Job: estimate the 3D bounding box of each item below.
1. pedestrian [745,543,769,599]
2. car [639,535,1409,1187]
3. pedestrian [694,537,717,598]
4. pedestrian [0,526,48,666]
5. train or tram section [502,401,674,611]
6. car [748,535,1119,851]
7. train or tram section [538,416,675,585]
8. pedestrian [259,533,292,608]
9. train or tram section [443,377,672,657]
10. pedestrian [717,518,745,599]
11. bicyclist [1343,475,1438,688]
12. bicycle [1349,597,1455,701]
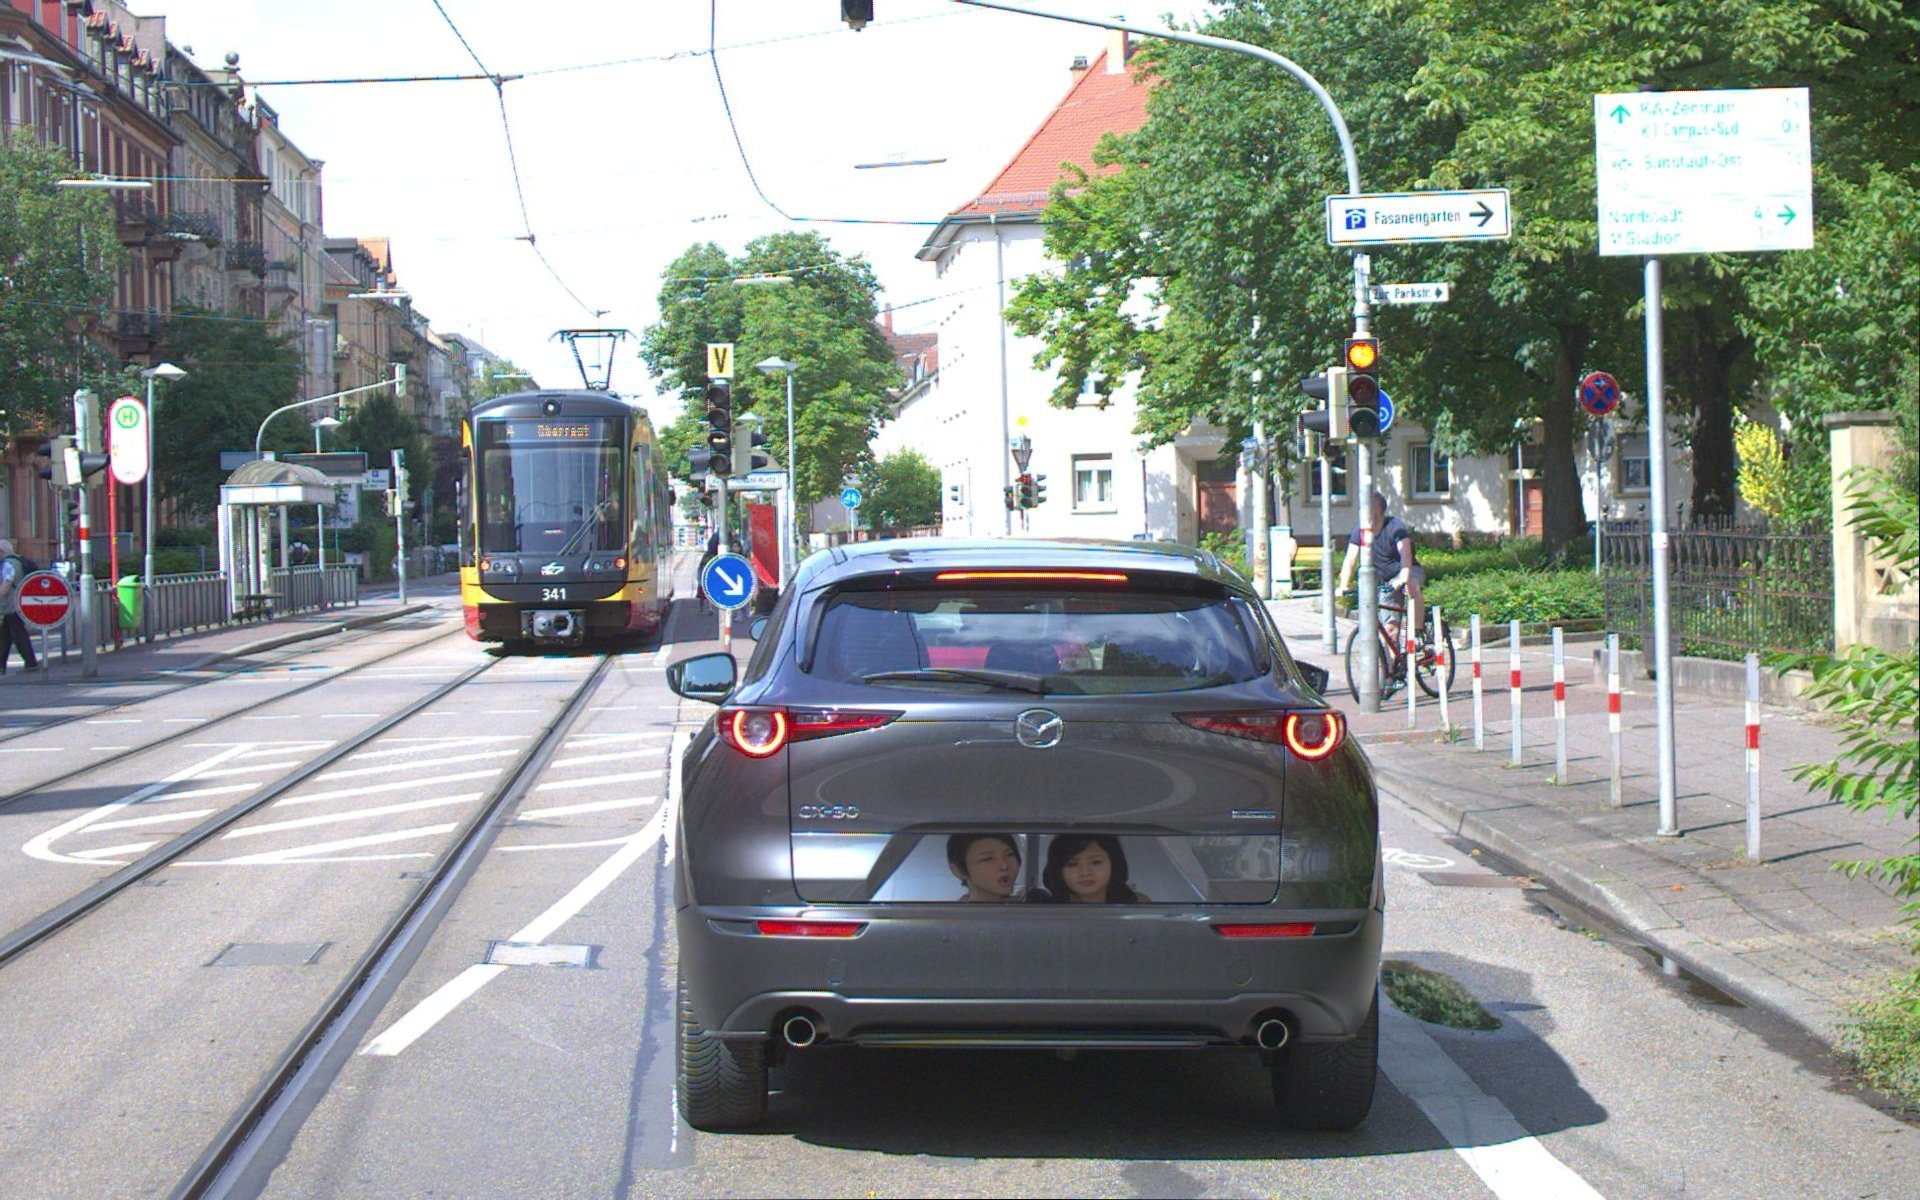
[{"bbox_3d":[-3.598,-0.508,60.986,0.379,0.981,0.474,-1,1,-5],"label":"pedestrian"},{"bbox_3d":[0.113,0.574,10.042,1.778,1.494,4.000,1,1,-1],"label":"car"},{"bbox_3d":[-4.484,-0.569,60.509,0.379,1.067,0.474,-1,1,-4],"label":"pedestrian"},{"bbox_3d":[-11.726,-0.055,42.625,0.716,1.699,0.824,-1,1,-18],"label":"pedestrian"},{"bbox_3d":[-6.837,-1.837,64.894,2.752,3.478,14.411,-1,2,-5],"label":"train or tram section"},{"bbox_3d":[-0.164,0.414,18.647,1.778,1.494,4.000,1,1,-1],"label":"car"},{"bbox_3d":[-7.998,-2.352,79.233,2.752,3.478,14.411,-1,2,-5],"label":"train or tram section"},{"bbox_3d":[-12.840,-0.560,64.517,0.429,1.394,0.398,-1,1,30],"label":"pedestrian"},{"bbox_3d":[-5.672,-1.308,50.550,2.752,3.478,14.411,-1,2,-5],"label":"train or tram section"},{"bbox_3d":[-4.047,-0.733,60.696,0.450,1.429,0.474,-1,1,-5],"label":"pedestrian"},{"bbox_3d":[3.667,-0.163,29.278,0.656,1.786,0.609,-1,1,20],"label":"bicyclist"},{"bbox_3d":[3.788,0.409,29.367,0.493,0.821,1.697,-1,1,21],"label":"bicycle"}]
